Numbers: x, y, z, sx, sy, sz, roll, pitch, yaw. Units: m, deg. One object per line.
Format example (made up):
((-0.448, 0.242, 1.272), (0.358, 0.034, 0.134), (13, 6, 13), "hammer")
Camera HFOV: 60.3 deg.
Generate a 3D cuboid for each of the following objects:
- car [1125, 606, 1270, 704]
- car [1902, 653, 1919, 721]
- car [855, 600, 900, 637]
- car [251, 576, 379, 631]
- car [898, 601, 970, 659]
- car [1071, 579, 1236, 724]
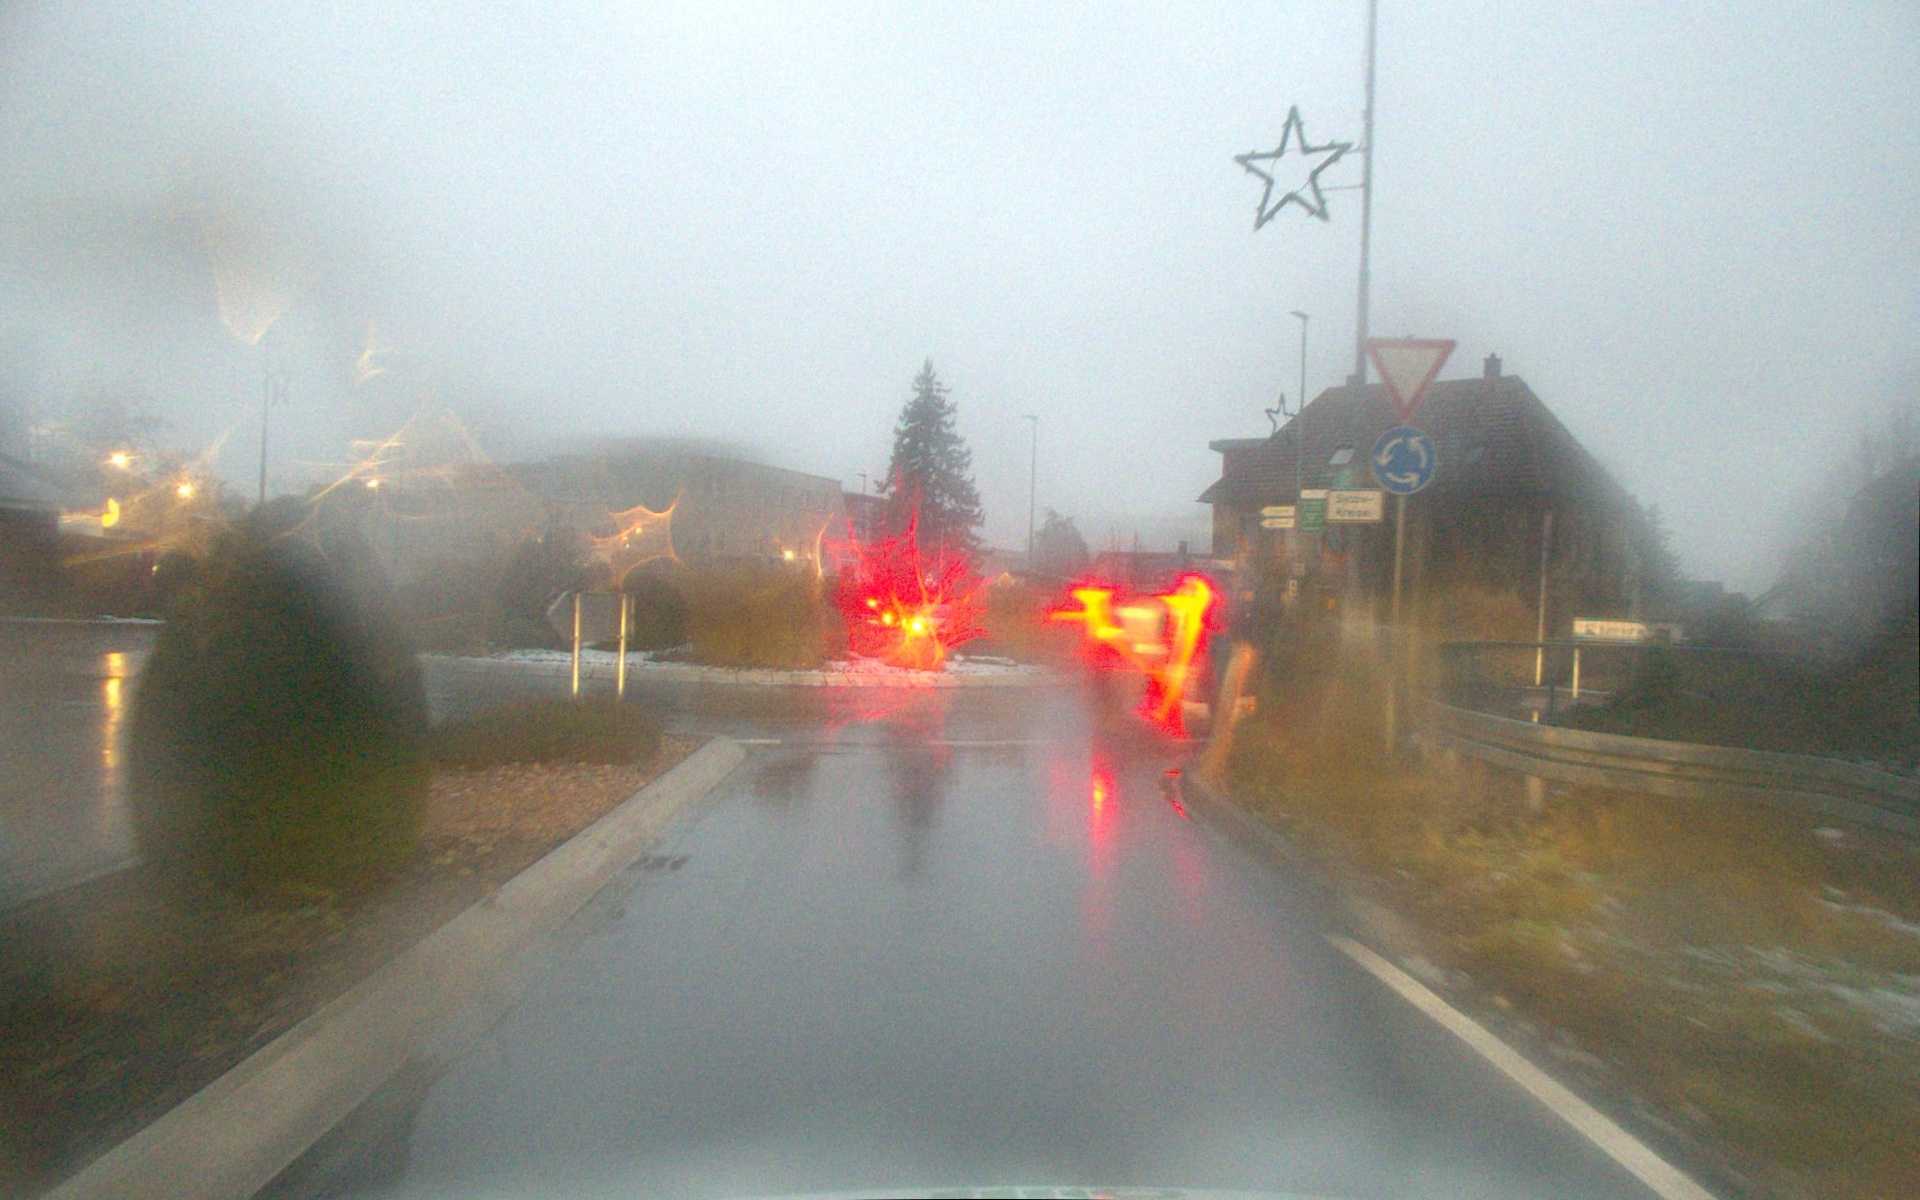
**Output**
((4.769, 1.064, 33.951), (2.120, 1.719, 4.570), (2, 1, -2), "car")
((29.479, 2.504, 46.006), (2.345, 1.898, 5.256), (2, -1, -39), "car")
((-3.744, 0.817, 74.263), (1.739, 1.571, 3.994), (1, -1, -7), "car")
((-22.413, 0.112, 57.470), (4.193, 1.588, 2.058), (3, -2, 34), "car")
((-0.856, 0.958, 51.248), (1.846, 1.643, 4.565), (2, -2, -5), "car")
((2.582, 0.654, 22.927), (1.904, 1.748, 4.001), (2, 0, 2), "car")
